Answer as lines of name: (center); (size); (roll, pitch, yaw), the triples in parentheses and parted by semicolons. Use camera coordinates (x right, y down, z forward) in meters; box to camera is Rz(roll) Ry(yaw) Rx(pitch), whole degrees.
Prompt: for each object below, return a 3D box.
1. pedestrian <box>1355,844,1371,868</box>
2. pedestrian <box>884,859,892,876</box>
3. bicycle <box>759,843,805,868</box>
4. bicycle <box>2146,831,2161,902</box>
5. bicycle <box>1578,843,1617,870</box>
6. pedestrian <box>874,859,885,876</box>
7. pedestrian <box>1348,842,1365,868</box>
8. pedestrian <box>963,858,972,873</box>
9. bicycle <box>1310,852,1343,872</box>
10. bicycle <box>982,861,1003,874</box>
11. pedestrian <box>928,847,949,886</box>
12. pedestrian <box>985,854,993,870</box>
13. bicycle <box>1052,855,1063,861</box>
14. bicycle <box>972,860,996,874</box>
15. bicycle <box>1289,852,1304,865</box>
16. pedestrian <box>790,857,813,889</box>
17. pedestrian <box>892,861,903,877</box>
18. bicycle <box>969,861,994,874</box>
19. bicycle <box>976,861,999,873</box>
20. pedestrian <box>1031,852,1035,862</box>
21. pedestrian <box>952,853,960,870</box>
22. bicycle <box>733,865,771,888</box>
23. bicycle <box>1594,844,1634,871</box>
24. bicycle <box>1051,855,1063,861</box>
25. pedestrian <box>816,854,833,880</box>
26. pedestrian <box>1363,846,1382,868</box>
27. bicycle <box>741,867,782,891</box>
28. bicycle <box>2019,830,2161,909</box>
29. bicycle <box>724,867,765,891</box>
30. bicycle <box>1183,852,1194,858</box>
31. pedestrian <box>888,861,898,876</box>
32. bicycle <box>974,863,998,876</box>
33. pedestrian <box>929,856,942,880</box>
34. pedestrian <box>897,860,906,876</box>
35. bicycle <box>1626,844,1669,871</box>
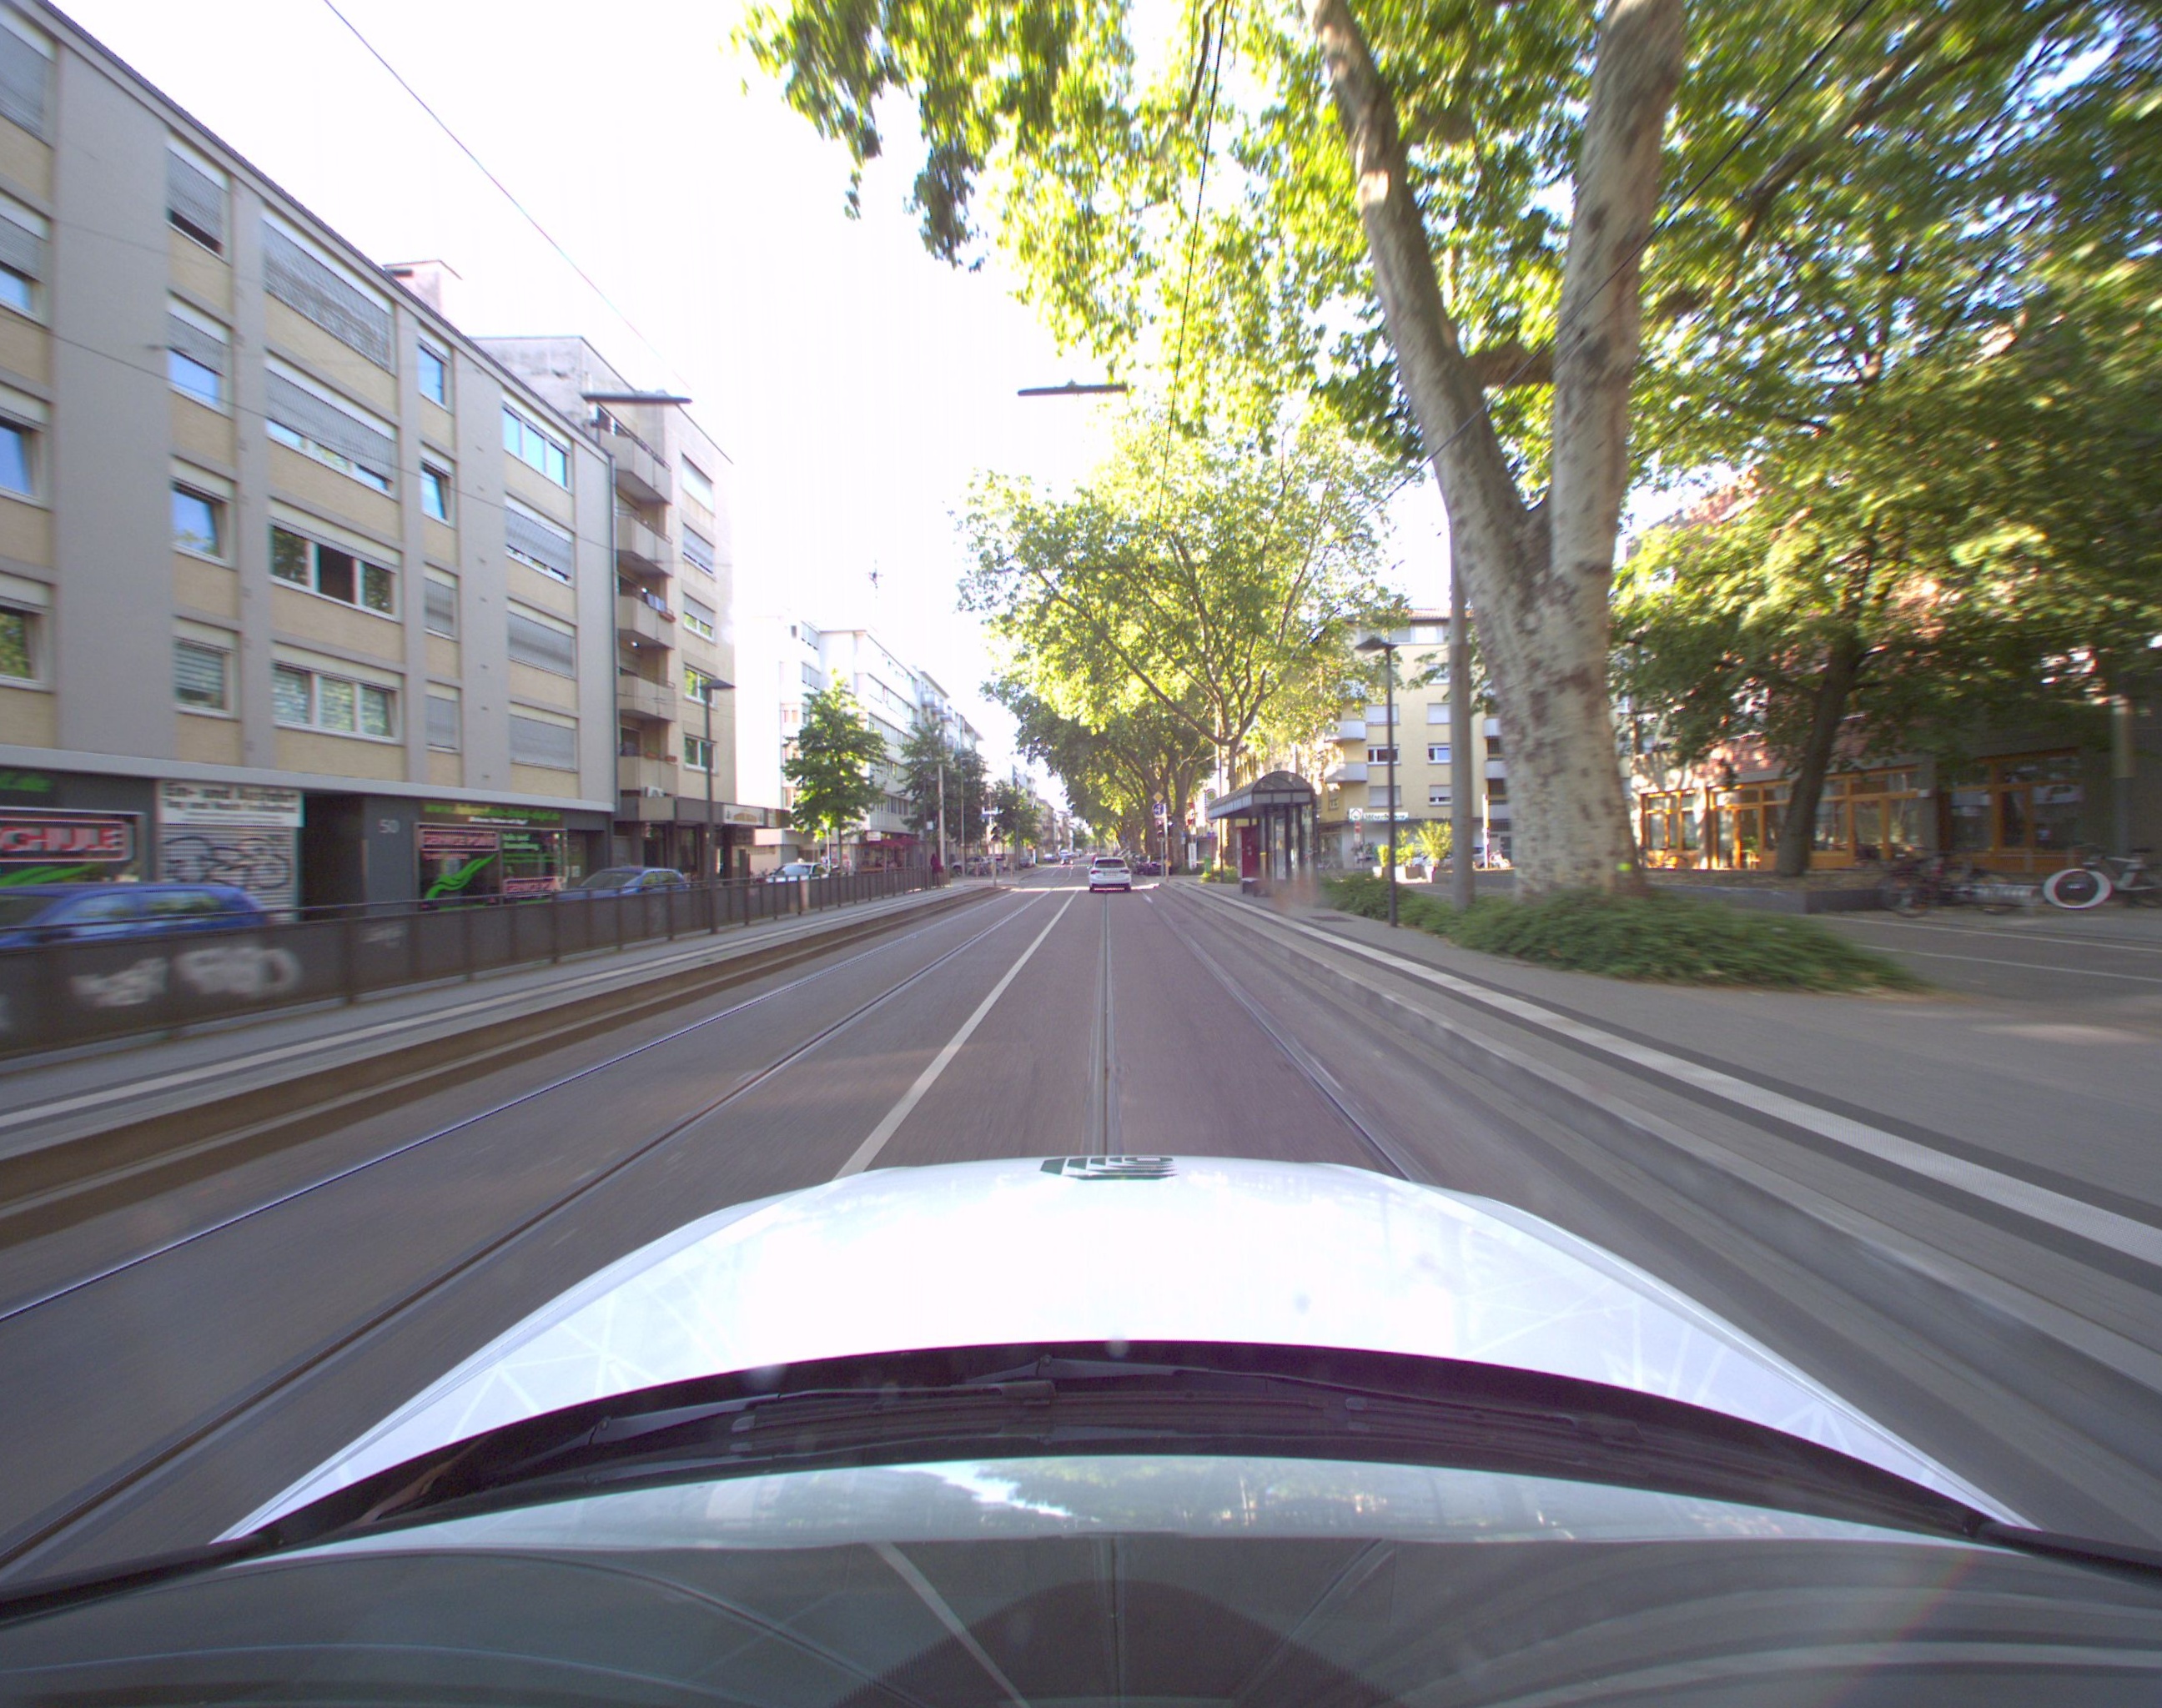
pedestrian: (18.133, 0.142, 52.320); (0.694, 1.539, 0.695); (-2, 0, 42)
pedestrian: (-13.957, 0.972, 58.820); (0.512, 1.198, 0.561); (-2, 0, -15)
bicycle: (-14.585, 0.060, 39.746); (2.038, 1.156, 0.568); (-2, 0, -21)
bicycle: (18.434, 0.166, 13.081); (1.669, 1.156, 0.573); (-3, 0, 6)
bicycle: (23.389, 0.108, 36.920); (0.659, 1.156, 1.698); (-3, 0, 1)
pedestrian: (-14.651, 0.990, 59.181); (0.566, 1.198, 0.508); (-2, 0, -34)
pedestrian: (18.074, 0.063, 53.427); (0.704, 1.682, 0.656); (-2, 0, -26)
pedestrian: (-9.775, 1.008, 70.002); (0.713, 1.297, 0.744); (-2, 0, -13)
bicycle: (15.145, 0.502, 50.248); (1.798, 1.156, 0.741); (-3, 0, -21)
bicycle: (-7.150, 1.066, 65.936); (1.687, 1.007, 0.657); (0, -1, -4)
pedestrian: (-5.987, 0.514, 34.235); (0.651, 1.585, 0.773); (-1, 0, 2)
pedestrian: (-9.919, 0.901, 88.052); (0.761, 1.691, 0.794); (-1, 0, 0)
bicycle: (-5.351, 0.922, 184.399); (2.520, 1.172, 0.718); (1, -2, -5)
bicycle: (-7.487, 1.004, 62.810); (1.825, 1.007, 0.657); (0, -1, -4)
bicycle: (16.612, 0.349, 62.813); (0.569, 0.997, 1.778); (-3, 0, -3)
pedestrian: (-13.756, 0.934, 40.132); (0.719, 1.556, 0.729); (-2, 0, 17)
pedestrian: (-13.932, 1.158, 61.890); (0.604, 1.198, 0.685); (-2, 0, -34)
bicycle: (-7.591, 1.012, 62.370); (1.825, 1.007, 0.657); (0, -1, -4)
bicycle: (-7.409, 1.029, 64.587); (1.825, 1.007, 0.657); (0, -1, -4)
pedestrian: (-9.482, 0.577, 159.859); (0.661, 1.826, 0.965); (-1, 0, 0)
pedestrian: (-12.678, 0.799, 82.779); (0.661, 1.691, 0.748); (-1, 0, 0)
bicycle: (-17.123, 1.182, 42.337); (1.772, 1.156, 0.574); (-2, 0, 12)
bicycle: (24.114, 0.168, 36.868); (0.659, 1.156, 1.698); (-3, 0, 1)
bicycle: (-5.382, 0.921, 183.563); (2.545, 1.172, 0.873); (2, -2, -38)
pedestrian: (-17.096, 0.858, 54.264); (0.741, 1.659, 0.772); (-2, 0, 16)
pedestrian: (19.032, 0.189, 53.170); (0.838, 1.415, 0.767); (-2, 0, -7)
bicycle: (-16.259, 1.279, 41.448); (1.849, 1.156, 0.573); (-2, 0, 5)
bicycle: (16.540, 0.244, 13.098); (2.020, 1.156, 0.573); (-3, 0, 6)
bicycle: (-17.151, 1.260, 41.526); (1.781, 1.156, 0.571); (-2, 0, -6)
bicycle: (19.212, 0.222, 145.643); (1.787, 1.041, 0.617); (-3, 0, -3)
pedestrian: (-14.801, 1.147, 64.131); (0.560, 1.198, 0.624); (-2, 0, 0)
bicycle: (-7.084, 1.155, 60.875); (1.687, 1.007, 0.657); (0, -1, -4)
pedestrian: (-9.491, 0.914, 53.031); (0.723, 1.556, 0.768); (-2, 0, -4)
pedestrian: (-13.825, 1.045, 62.755); (0.514, 1.198, 0.558); (-2, 0, -28)
bicycle: (25.429, 0.152, 36.560); (0.519, 1.156, 1.692); (-3, 0, -9)
